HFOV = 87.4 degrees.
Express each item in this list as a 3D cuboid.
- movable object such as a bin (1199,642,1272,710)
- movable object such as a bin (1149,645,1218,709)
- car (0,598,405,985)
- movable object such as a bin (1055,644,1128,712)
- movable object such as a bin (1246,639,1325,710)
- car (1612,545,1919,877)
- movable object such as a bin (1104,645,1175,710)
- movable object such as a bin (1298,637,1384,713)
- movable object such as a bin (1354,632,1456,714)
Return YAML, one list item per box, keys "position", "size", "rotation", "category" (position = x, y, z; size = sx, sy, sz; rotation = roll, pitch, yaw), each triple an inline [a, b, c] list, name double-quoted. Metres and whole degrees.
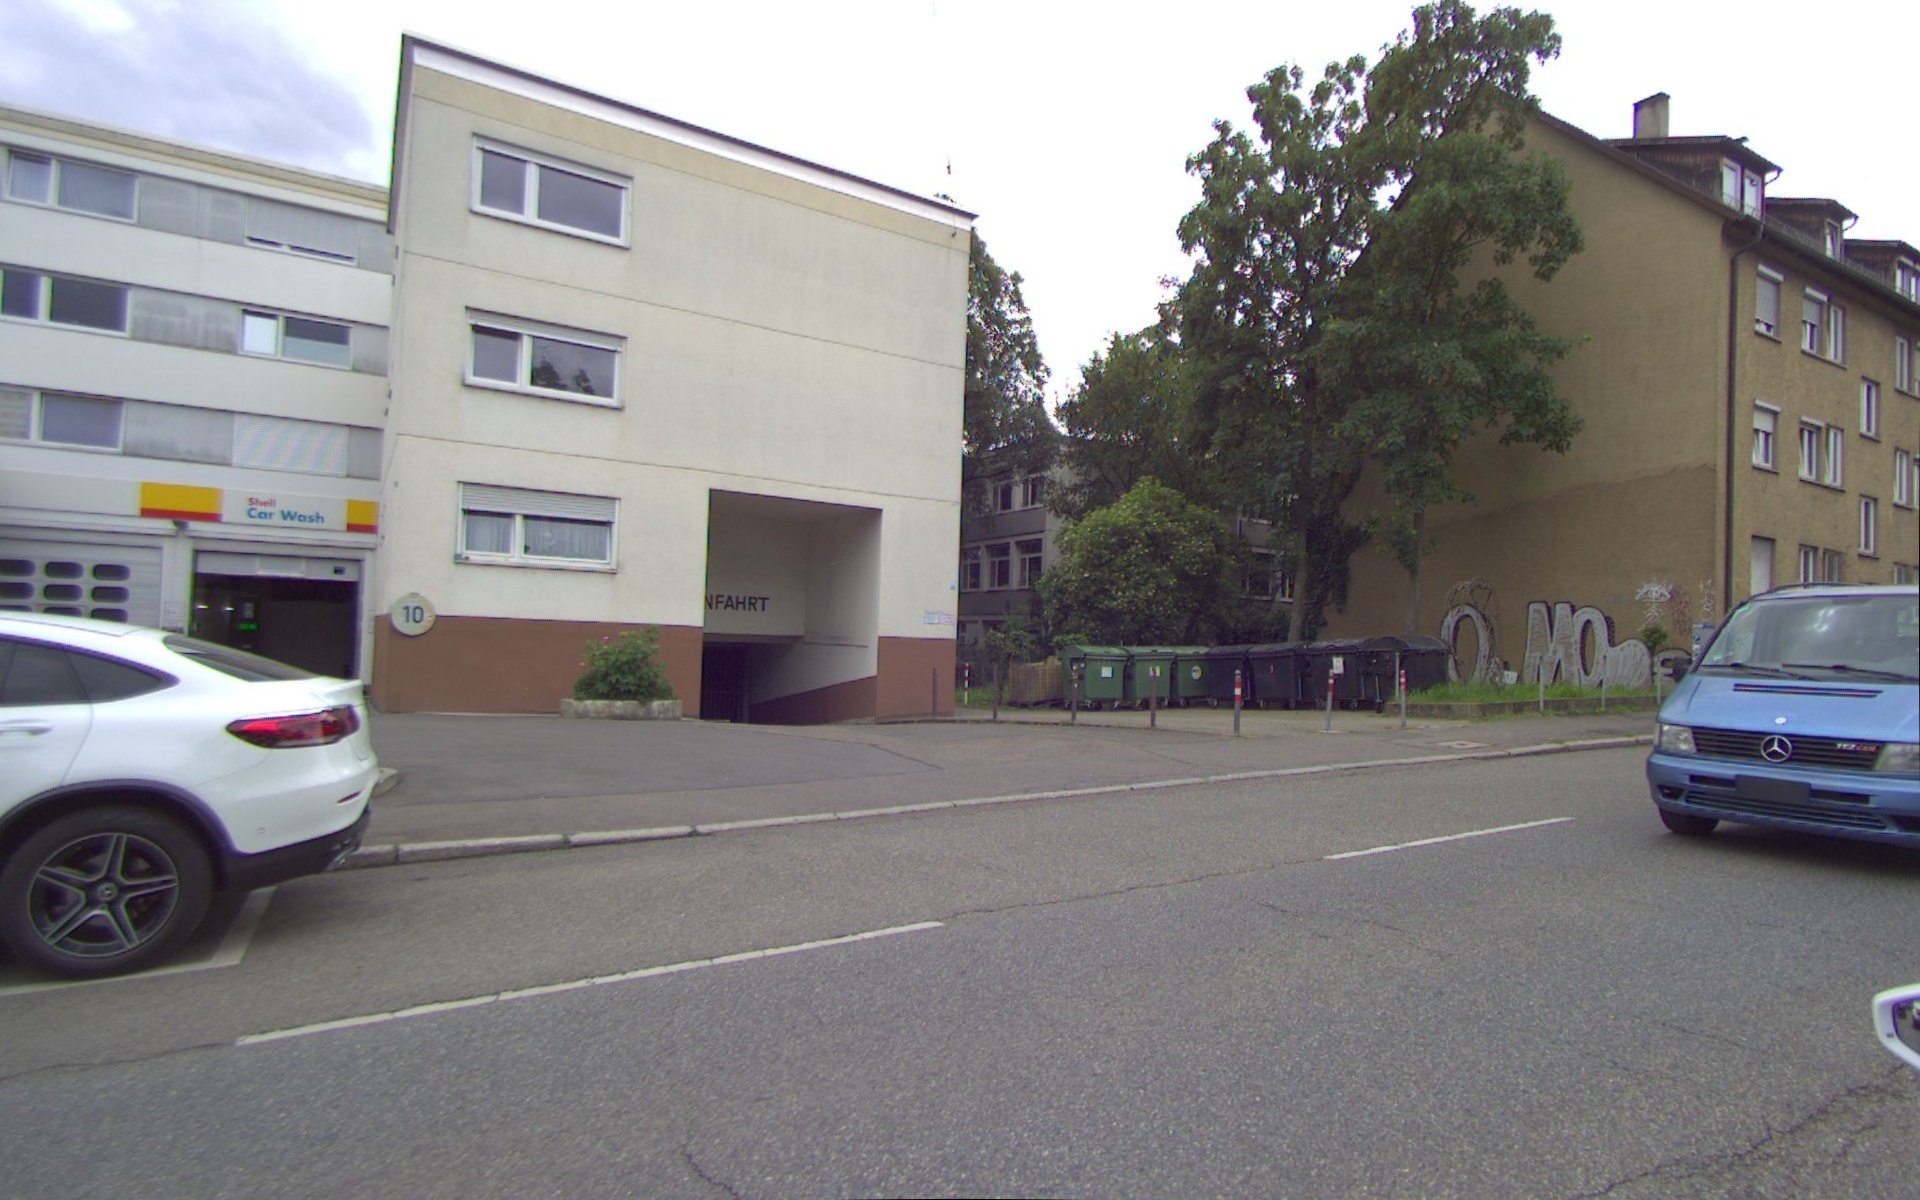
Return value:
- position: [6.274, 1.705, 22.917]
  size: [0.903, 1.447, 1.385]
  rotation: [1, -1, -32]
  category: "movable object such as a bin"
- position: [5.361, 1.814, 24.091]
  size: [1.382, 1.447, 0.905]
  rotation: [1, -1, -32]
  category: "movable object such as a bin"
- position: [-5.193, 0.805, 4.563]
  size: [4.643, 1.598, 1.907]
  rotation: [1, -2, -30]
  category: "car"
- position: [2.952, 1.735, 22.571]
  size: [1.382, 1.447, 0.905]
  rotation: [1, -1, -32]
  category: "movable object such as a bin"
- position: [7.018, 1.575, 21.704]
  size: [0.903, 1.447, 1.385]
  rotation: [1, -1, -32]
  category: "movable object such as a bin"
- position: [7.172, 0.702, 7.618]
  size: [4.536, 1.926, 1.922]
  rotation: [1, -2, -31]
  category: "car"
- position: [4.166, 1.774, 23.329]
  size: [1.382, 1.447, 0.905]
  rotation: [1, -1, -32]
  category: "movable object such as a bin"
- position: [7.758, 1.499, 20.478]
  size: [0.903, 1.447, 1.385]
  rotation: [1, -1, -32]
  category: "movable object such as a bin"
- position: [8.361, 1.340, 18.894]
  size: [1.266, 1.447, 1.273]
  rotation: [1, -1, -34]
  category: "movable object such as a bin"
